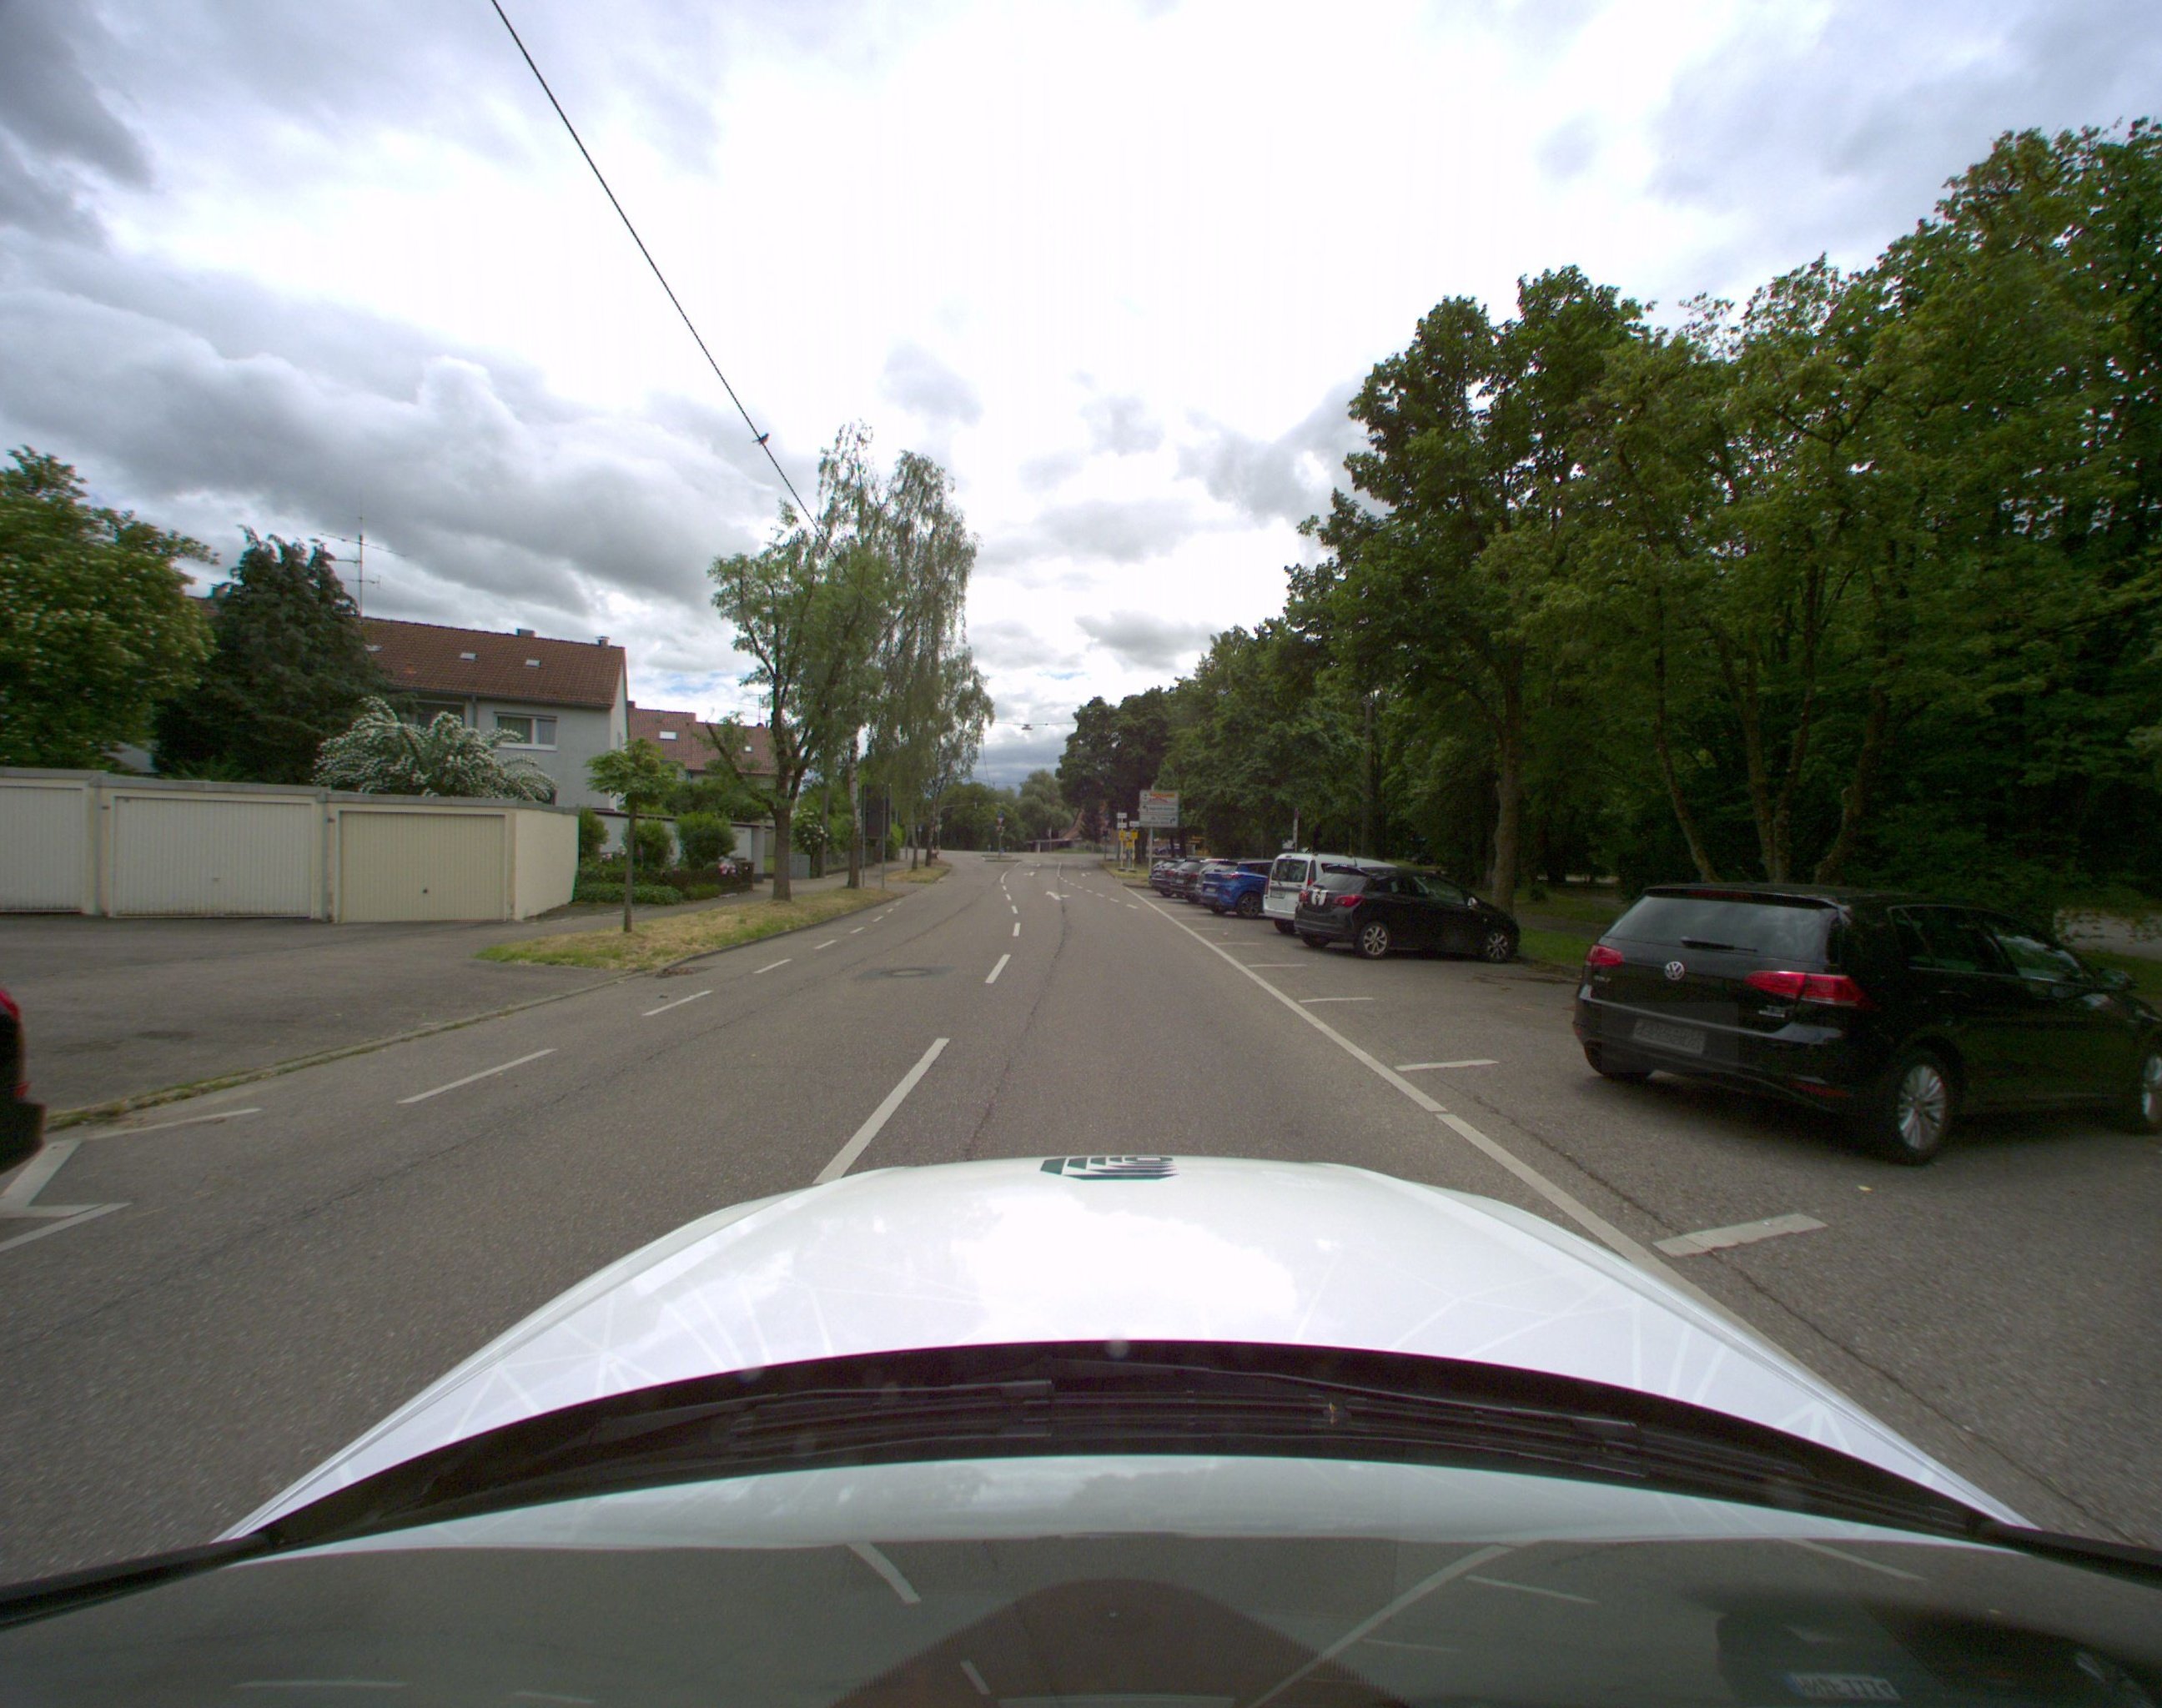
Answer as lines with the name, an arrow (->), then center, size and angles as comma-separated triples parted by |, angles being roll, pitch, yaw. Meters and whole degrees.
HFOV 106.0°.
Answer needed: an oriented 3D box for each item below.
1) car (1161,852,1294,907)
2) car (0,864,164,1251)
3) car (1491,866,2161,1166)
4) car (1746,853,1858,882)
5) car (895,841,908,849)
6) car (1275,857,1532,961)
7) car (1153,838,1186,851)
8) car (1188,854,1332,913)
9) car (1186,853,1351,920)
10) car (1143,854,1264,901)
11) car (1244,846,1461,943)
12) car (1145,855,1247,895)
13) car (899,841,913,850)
car -> 4.720, 0.825, 26.329 | 3.831, 1.528, 1.735 | 4, -1, -20
car -> -5.347, 0.855, 1.758 | 1.798, 1.563, 4.268 | -2, 0, 1
car -> 5.199, 0.917, 5.594 | 4.000, 1.414, 2.044 | 4, -1, -20
car -> 36.234, 0.671, 40.999 | 3.968, 1.409, 1.803 | 1, 0, 5
car -> -33.180, -1.644, 150.594 | 1.800, 1.409, 3.973 | 1, 1, -21
car -> 5.471, 0.929, 13.870 | 3.831, 1.468, 1.735 | 4, 0, -20
car -> 11.600, -1.248, 107.246 | 3.860, 1.647, 1.986 | 1, 1, -22
car -> 5.337, 0.870, 24.345 | 3.831, 1.528, 1.735 | 4, -1, -20
car -> 4.908, 0.846, 21.380 | 3.831, 1.528, 1.735 | 4, -1, -20
car -> 4.413, 0.849, 29.463 | 3.885, 1.426, 1.818 | 4, -1, -20
car -> 5.529, 0.815, 16.646 | 3.831, 1.720, 1.866 | 4, -1, -20
car -> 4.832, 0.871, 34.262 | 3.831, 1.425, 1.735 | 4, -1, -20
car -> -31.107, -1.581, 144.630 | 1.800, 1.512, 3.973 | 1, 1, -21
